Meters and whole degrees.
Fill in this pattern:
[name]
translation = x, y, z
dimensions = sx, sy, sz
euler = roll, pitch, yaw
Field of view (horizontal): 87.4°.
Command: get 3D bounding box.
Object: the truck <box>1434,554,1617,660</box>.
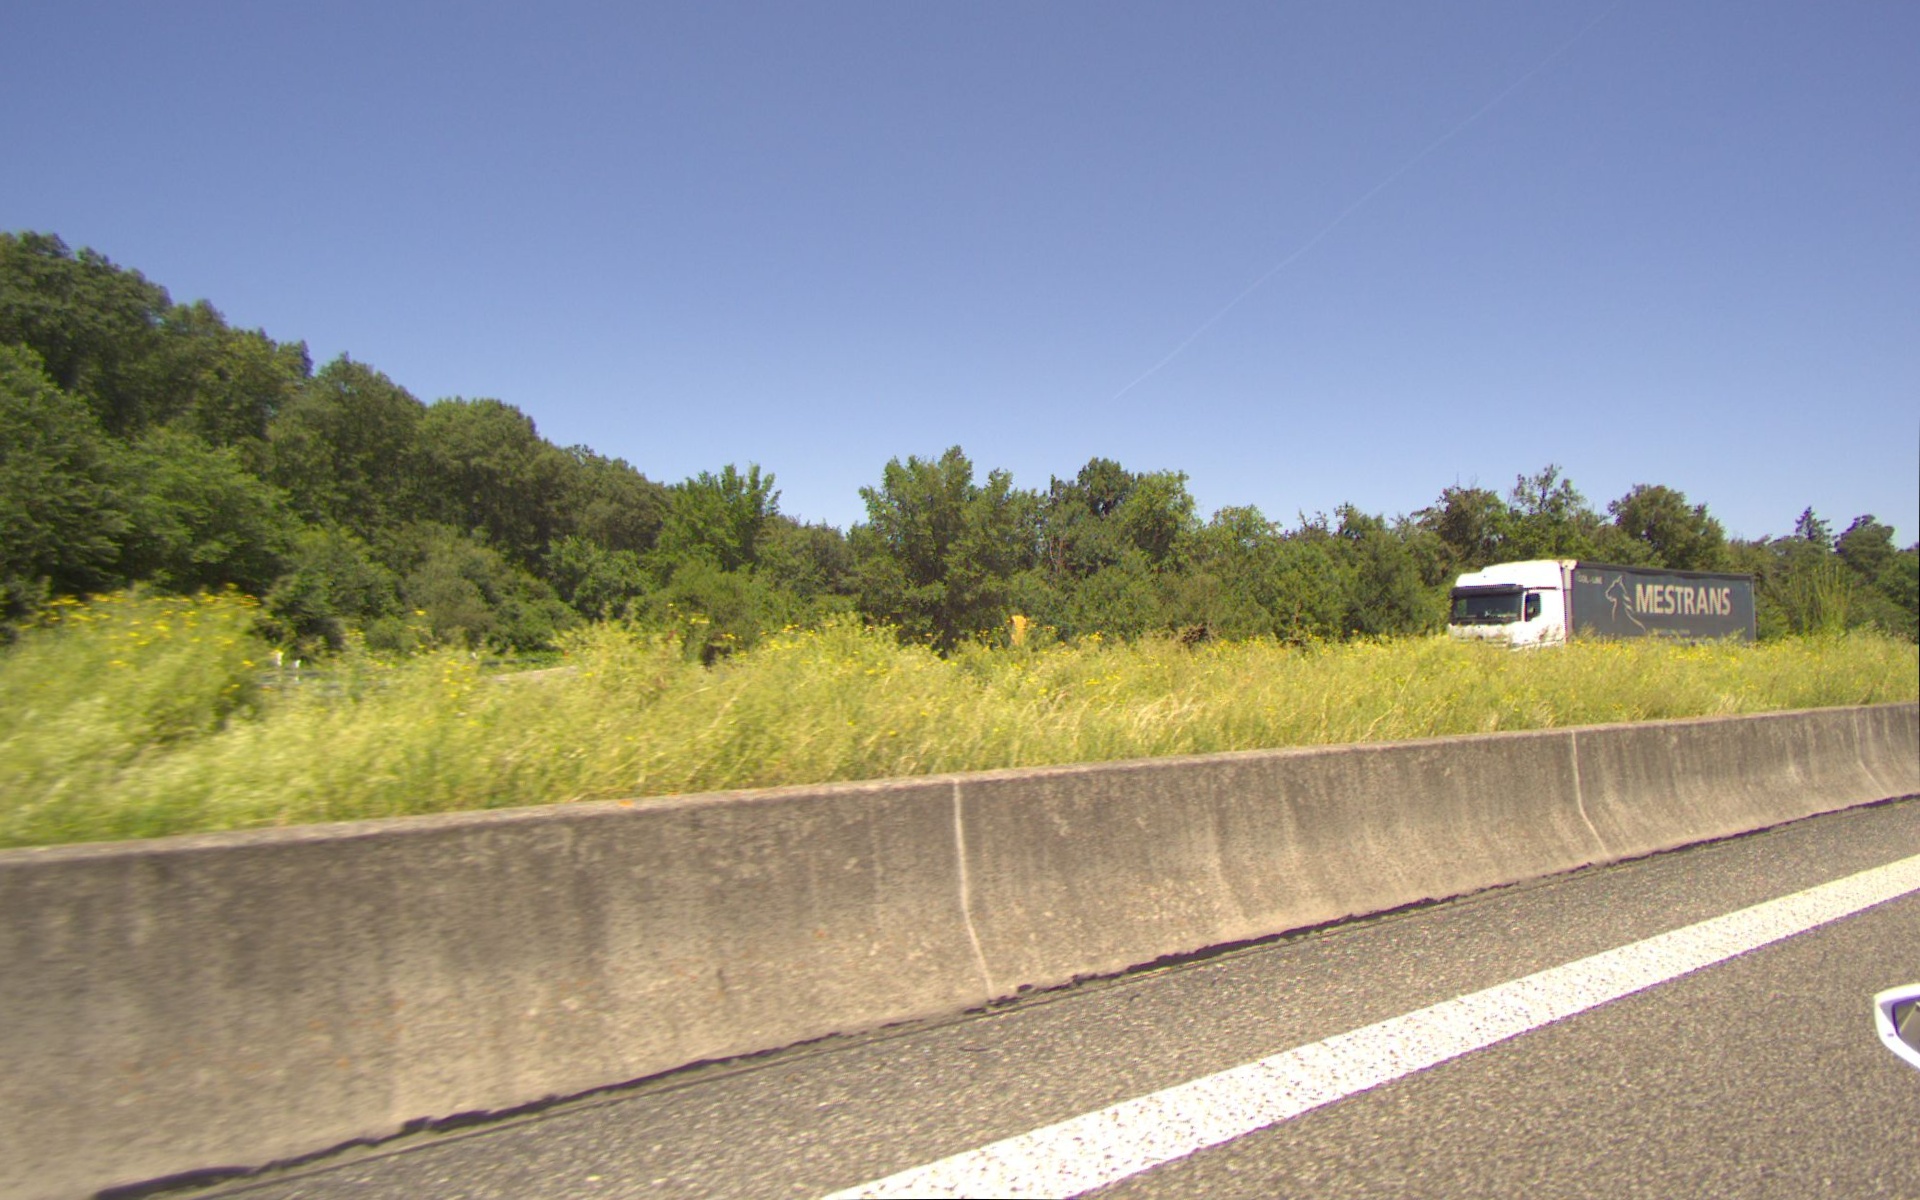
[truck]
translation = 18.218, 0.256, 32.291
dimensions = 5.782, 3.125, 2.628
euler = 2, 0, -32

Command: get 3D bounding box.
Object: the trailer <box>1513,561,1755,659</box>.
[trailer]
translation = 24.554, 0.448, 36.211
dimensions = 11.820, 3.143, 2.587
euler = 2, 0, -32
